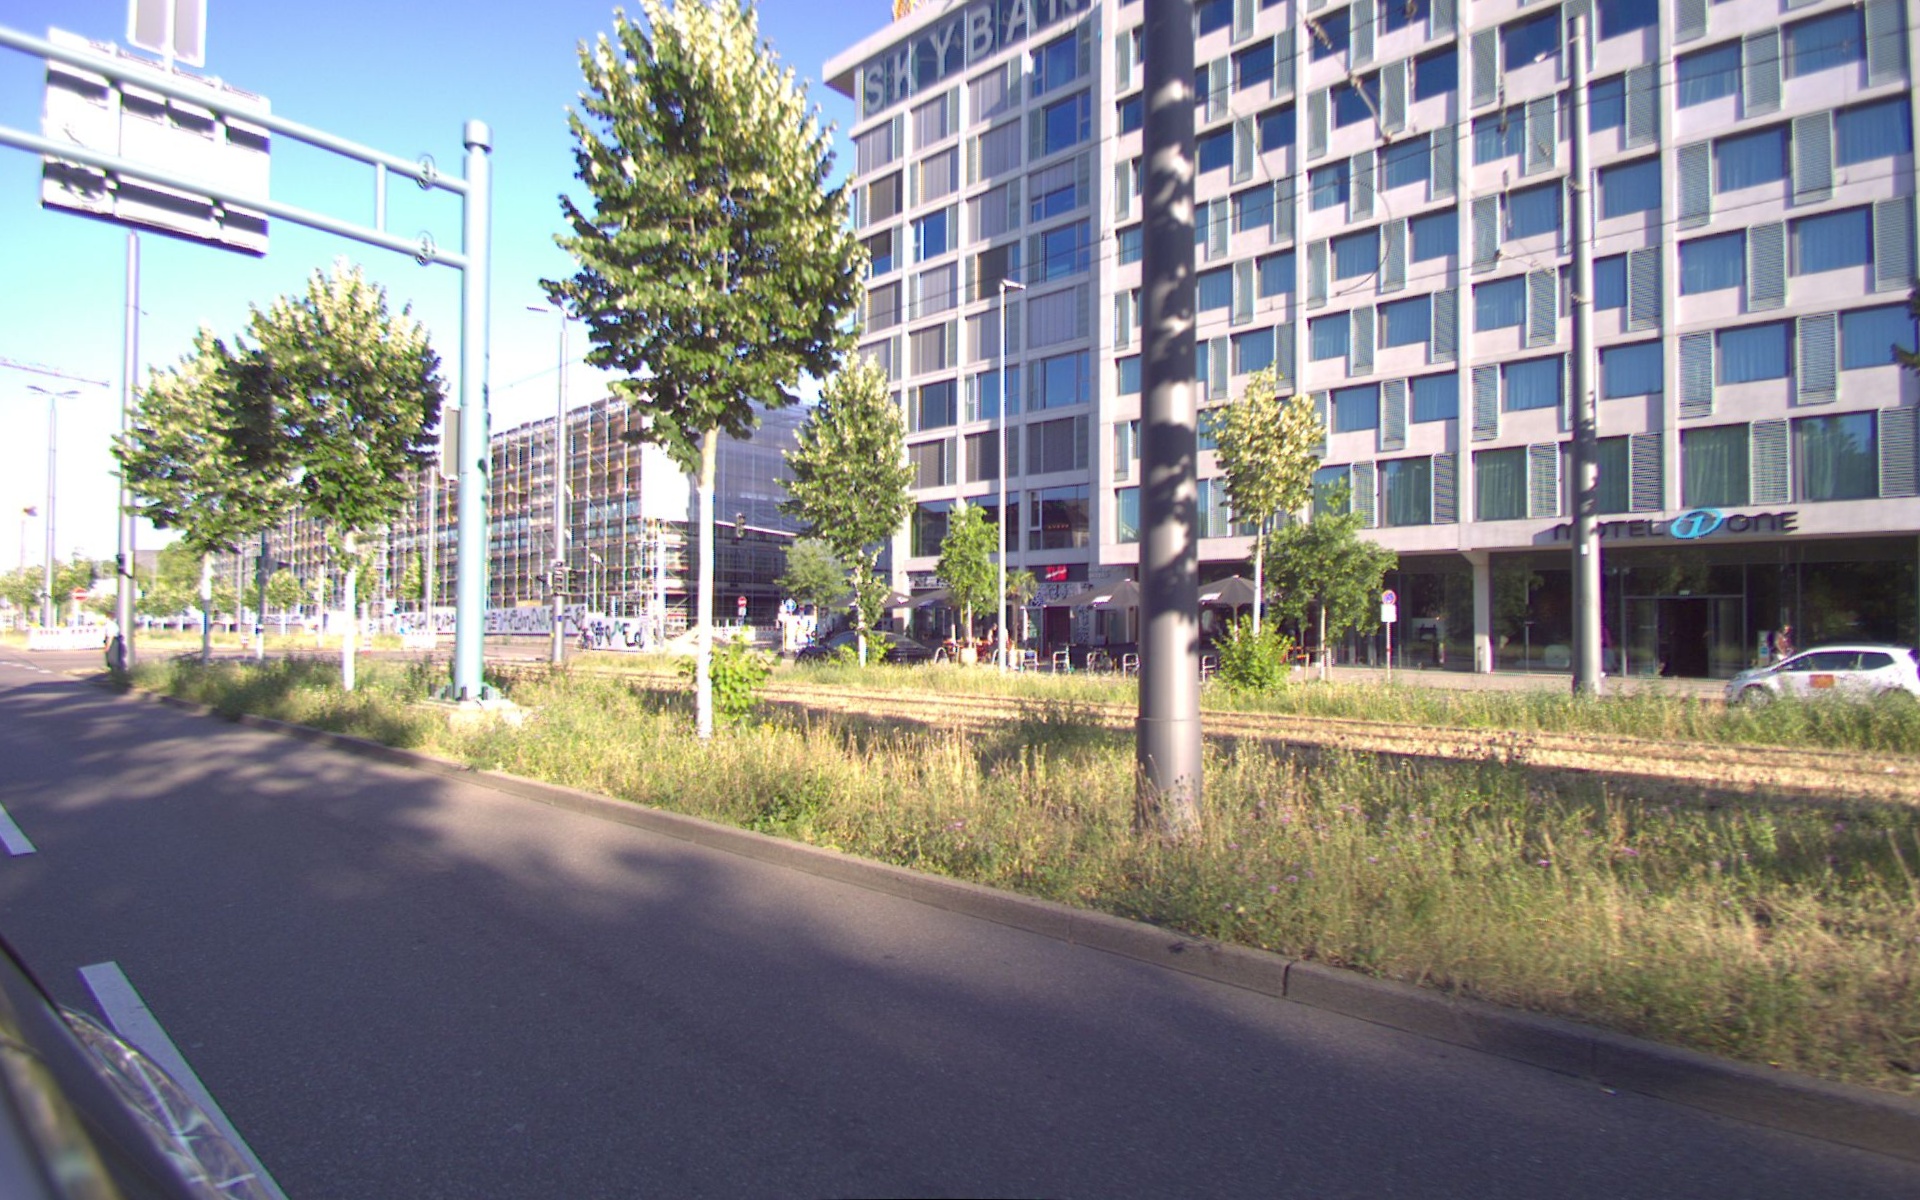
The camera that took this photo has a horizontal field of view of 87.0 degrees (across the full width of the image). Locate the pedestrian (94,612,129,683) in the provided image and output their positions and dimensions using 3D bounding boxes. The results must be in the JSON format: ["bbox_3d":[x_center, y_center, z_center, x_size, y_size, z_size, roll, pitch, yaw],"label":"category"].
[{"bbox_3d":[-20.967,1.168,24.997,0.591,1.712,0.715,2,-3,-43],"label":"pedestrian"}]

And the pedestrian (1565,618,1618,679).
[{"bbox_3d":[19.903,1.525,31.924,0.956,1.885,0.981,0,-2,-12],"label":"pedestrian"}]

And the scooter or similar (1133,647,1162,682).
[{"bbox_3d":[6.533,2.227,35.240,0.406,1.181,1.230,-2,-3,43],"label":"scooter or similar"}]

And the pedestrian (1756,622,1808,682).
[{"bbox_3d":[23.717,1.496,29.195,1.059,1.683,0.965,-2,-3,44],"label":"pedestrian"}]

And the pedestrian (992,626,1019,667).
[{"bbox_3d":[1.963,1.995,43.783,0.858,1.735,0.805,2,-2,-38],"label":"pedestrian"}]

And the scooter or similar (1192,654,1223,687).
[{"bbox_3d":[8.135,2.300,33.247,0.435,1.027,1.230,-2,-3,43],"label":"scooter or similar"}]

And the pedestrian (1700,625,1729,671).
[{"bbox_3d":[28.345,1.781,38.025,0.764,1.710,0.845,-2,-3,43],"label":"pedestrian"}]

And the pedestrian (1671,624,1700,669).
[{"bbox_3d":[28.265,1.799,39.422,0.764,1.710,0.845,-2,-3,43],"label":"pedestrian"}]

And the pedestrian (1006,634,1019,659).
[{"bbox_3d":[2.555,2.257,49.172,0.497,1.231,0.427,-2,-3,43],"label":"pedestrian"}]

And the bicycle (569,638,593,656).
[{"bbox_3d":[-23.304,2.853,62.221,0.617,1.075,2.079,2,-2,-45],"label":"bicycle"}]

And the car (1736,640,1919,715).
[{"bbox_3d":[19.850,1.674,22.543,3.873,1.503,1.864,-2,-2,44],"label":"car"}]

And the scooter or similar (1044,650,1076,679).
[{"bbox_3d":[3.697,2.381,37.390,0.511,1.027,1.230,-2,-3,43],"label":"scooter or similar"}]

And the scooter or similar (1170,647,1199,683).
[{"bbox_3d":[7.597,2.200,34.207,0.406,1.181,1.230,-2,-3,43],"label":"scooter or similar"}]

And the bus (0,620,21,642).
[{"bbox_3d":[-145.556,4.702,154.843,2.685,3.247,8.663,2,-3,-43],"label":"bus"}]

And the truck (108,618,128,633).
[{"bbox_3d":[-145.108,4.455,174.400,4.741,2.593,2.114,-2,-3,44],"label":"truck"}]

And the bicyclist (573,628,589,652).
[{"bbox_3d":[-23.295,2.438,62.216,0.617,1.476,0.851,2,-3,-45],"label":"bicyclist"}]

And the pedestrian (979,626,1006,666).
[{"bbox_3d":[1.429,2.010,44.377,0.858,1.735,0.805,2,-2,-38],"label":"pedestrian"}]

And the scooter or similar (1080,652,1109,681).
[{"bbox_3d":[4.838,2.382,36.376,0.435,1.027,1.230,-2,-3,43],"label":"scooter or similar"}]

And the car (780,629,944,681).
[{"bbox_3d":[-2.861,1.499,28.801,4.849,1.354,1.871,-1,-2,42],"label":"car"}]

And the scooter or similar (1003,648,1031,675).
[{"bbox_3d":[2.214,2.386,39.293,0.406,1.014,1.230,-2,-3,43],"label":"scooter or similar"}]

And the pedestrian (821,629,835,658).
[{"bbox_3d":[-6.939,2.284,53.263,0.571,1.510,0.585,0,-2,13],"label":"pedestrian"}]

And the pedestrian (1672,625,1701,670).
[{"bbox_3d":[27.628,1.796,38.470,0.764,1.710,0.845,-2,-3,43],"label":"pedestrian"}]
